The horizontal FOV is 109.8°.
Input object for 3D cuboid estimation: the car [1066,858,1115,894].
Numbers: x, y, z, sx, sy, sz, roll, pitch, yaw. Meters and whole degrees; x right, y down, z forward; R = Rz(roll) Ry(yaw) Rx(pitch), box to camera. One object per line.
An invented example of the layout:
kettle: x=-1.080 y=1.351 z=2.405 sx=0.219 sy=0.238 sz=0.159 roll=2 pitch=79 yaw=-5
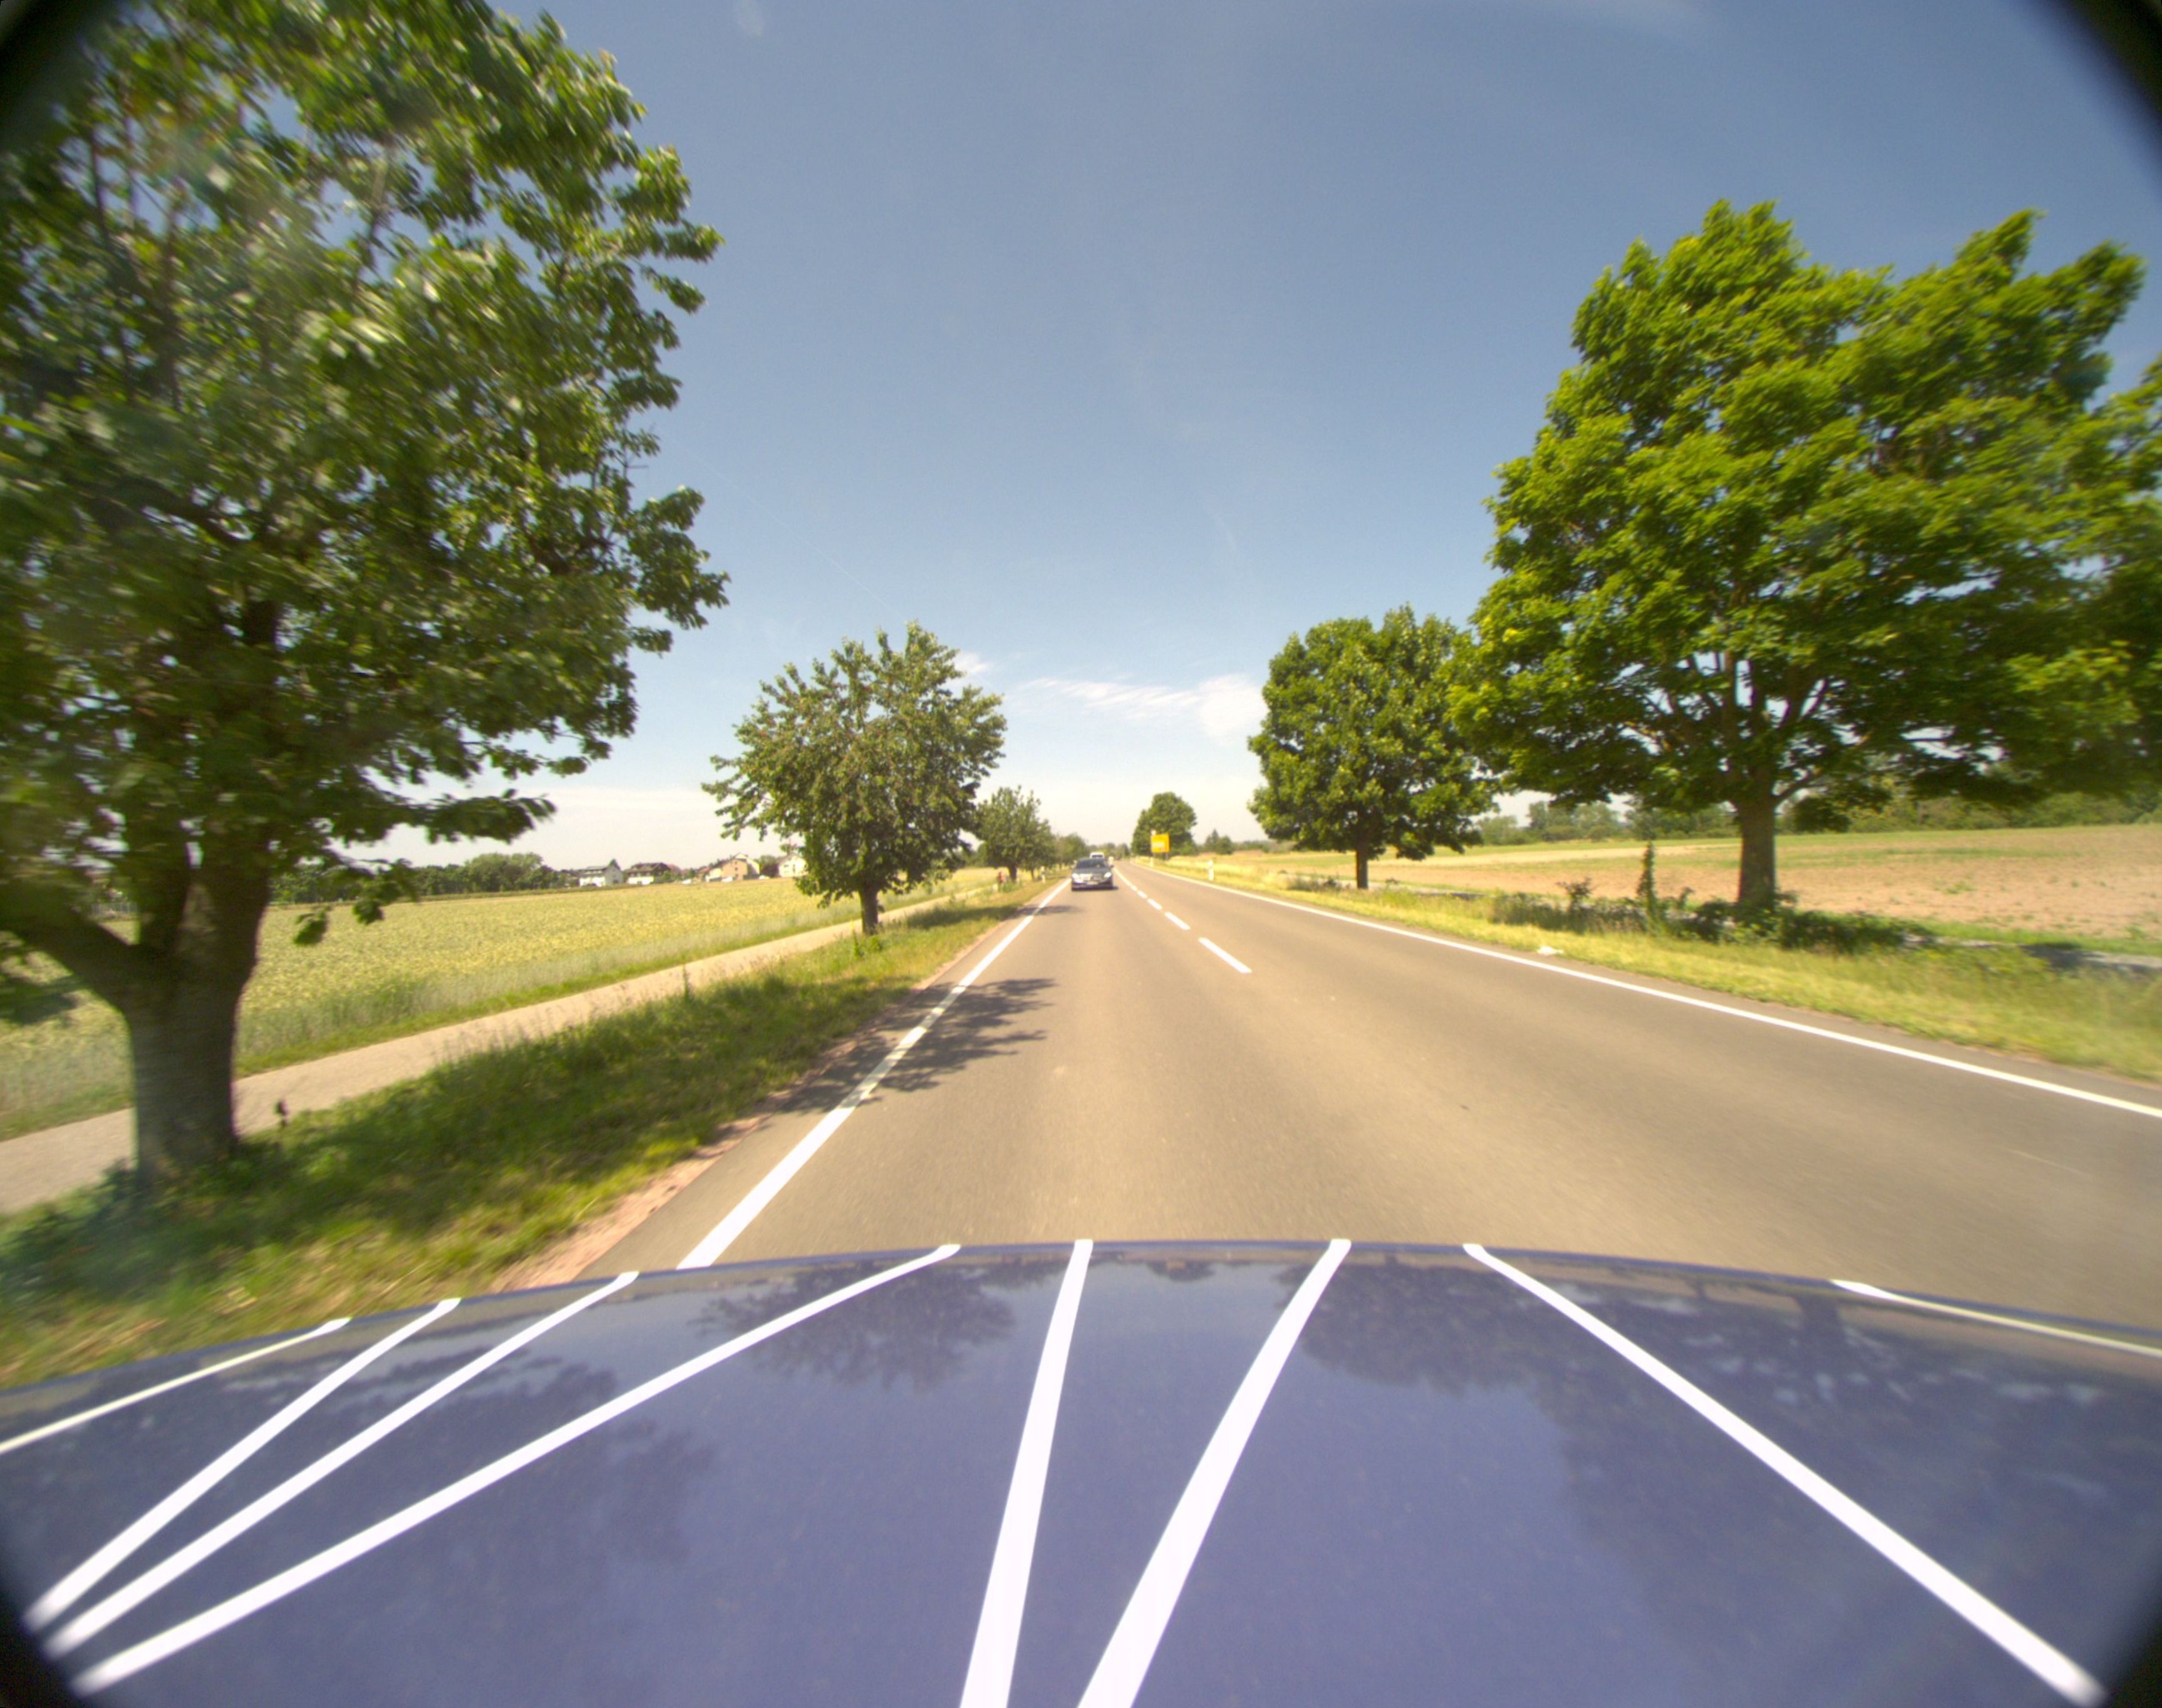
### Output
car: x=0.430 y=0.887 z=32.755 sx=1.953 sy=1.390 sz=4.000 roll=-1 pitch=0 yaw=1

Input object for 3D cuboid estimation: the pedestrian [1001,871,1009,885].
pedestrian: x=-7.044 y=2.237 z=70.147 sx=0.486 sy=1.306 sz=0.443 roll=-2 pitch=1 yaw=44

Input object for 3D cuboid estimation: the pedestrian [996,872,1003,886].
pedestrian: x=-7.574 y=2.316 z=70.740 sx=0.443 sy=1.288 sz=0.486 roll=-3 pitch=1 yaw=-43

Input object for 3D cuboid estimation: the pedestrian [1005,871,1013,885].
pedestrian: x=-6.671 y=2.229 z=70.561 sx=0.486 sy=1.288 sz=0.443 roll=-2 pitch=1 yaw=34

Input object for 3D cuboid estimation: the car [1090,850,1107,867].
car: x=2.140 y=0.529 z=93.657 sx=1.998 sy=1.907 sz=4.206 roll=-3 pitch=0 yaw=1
